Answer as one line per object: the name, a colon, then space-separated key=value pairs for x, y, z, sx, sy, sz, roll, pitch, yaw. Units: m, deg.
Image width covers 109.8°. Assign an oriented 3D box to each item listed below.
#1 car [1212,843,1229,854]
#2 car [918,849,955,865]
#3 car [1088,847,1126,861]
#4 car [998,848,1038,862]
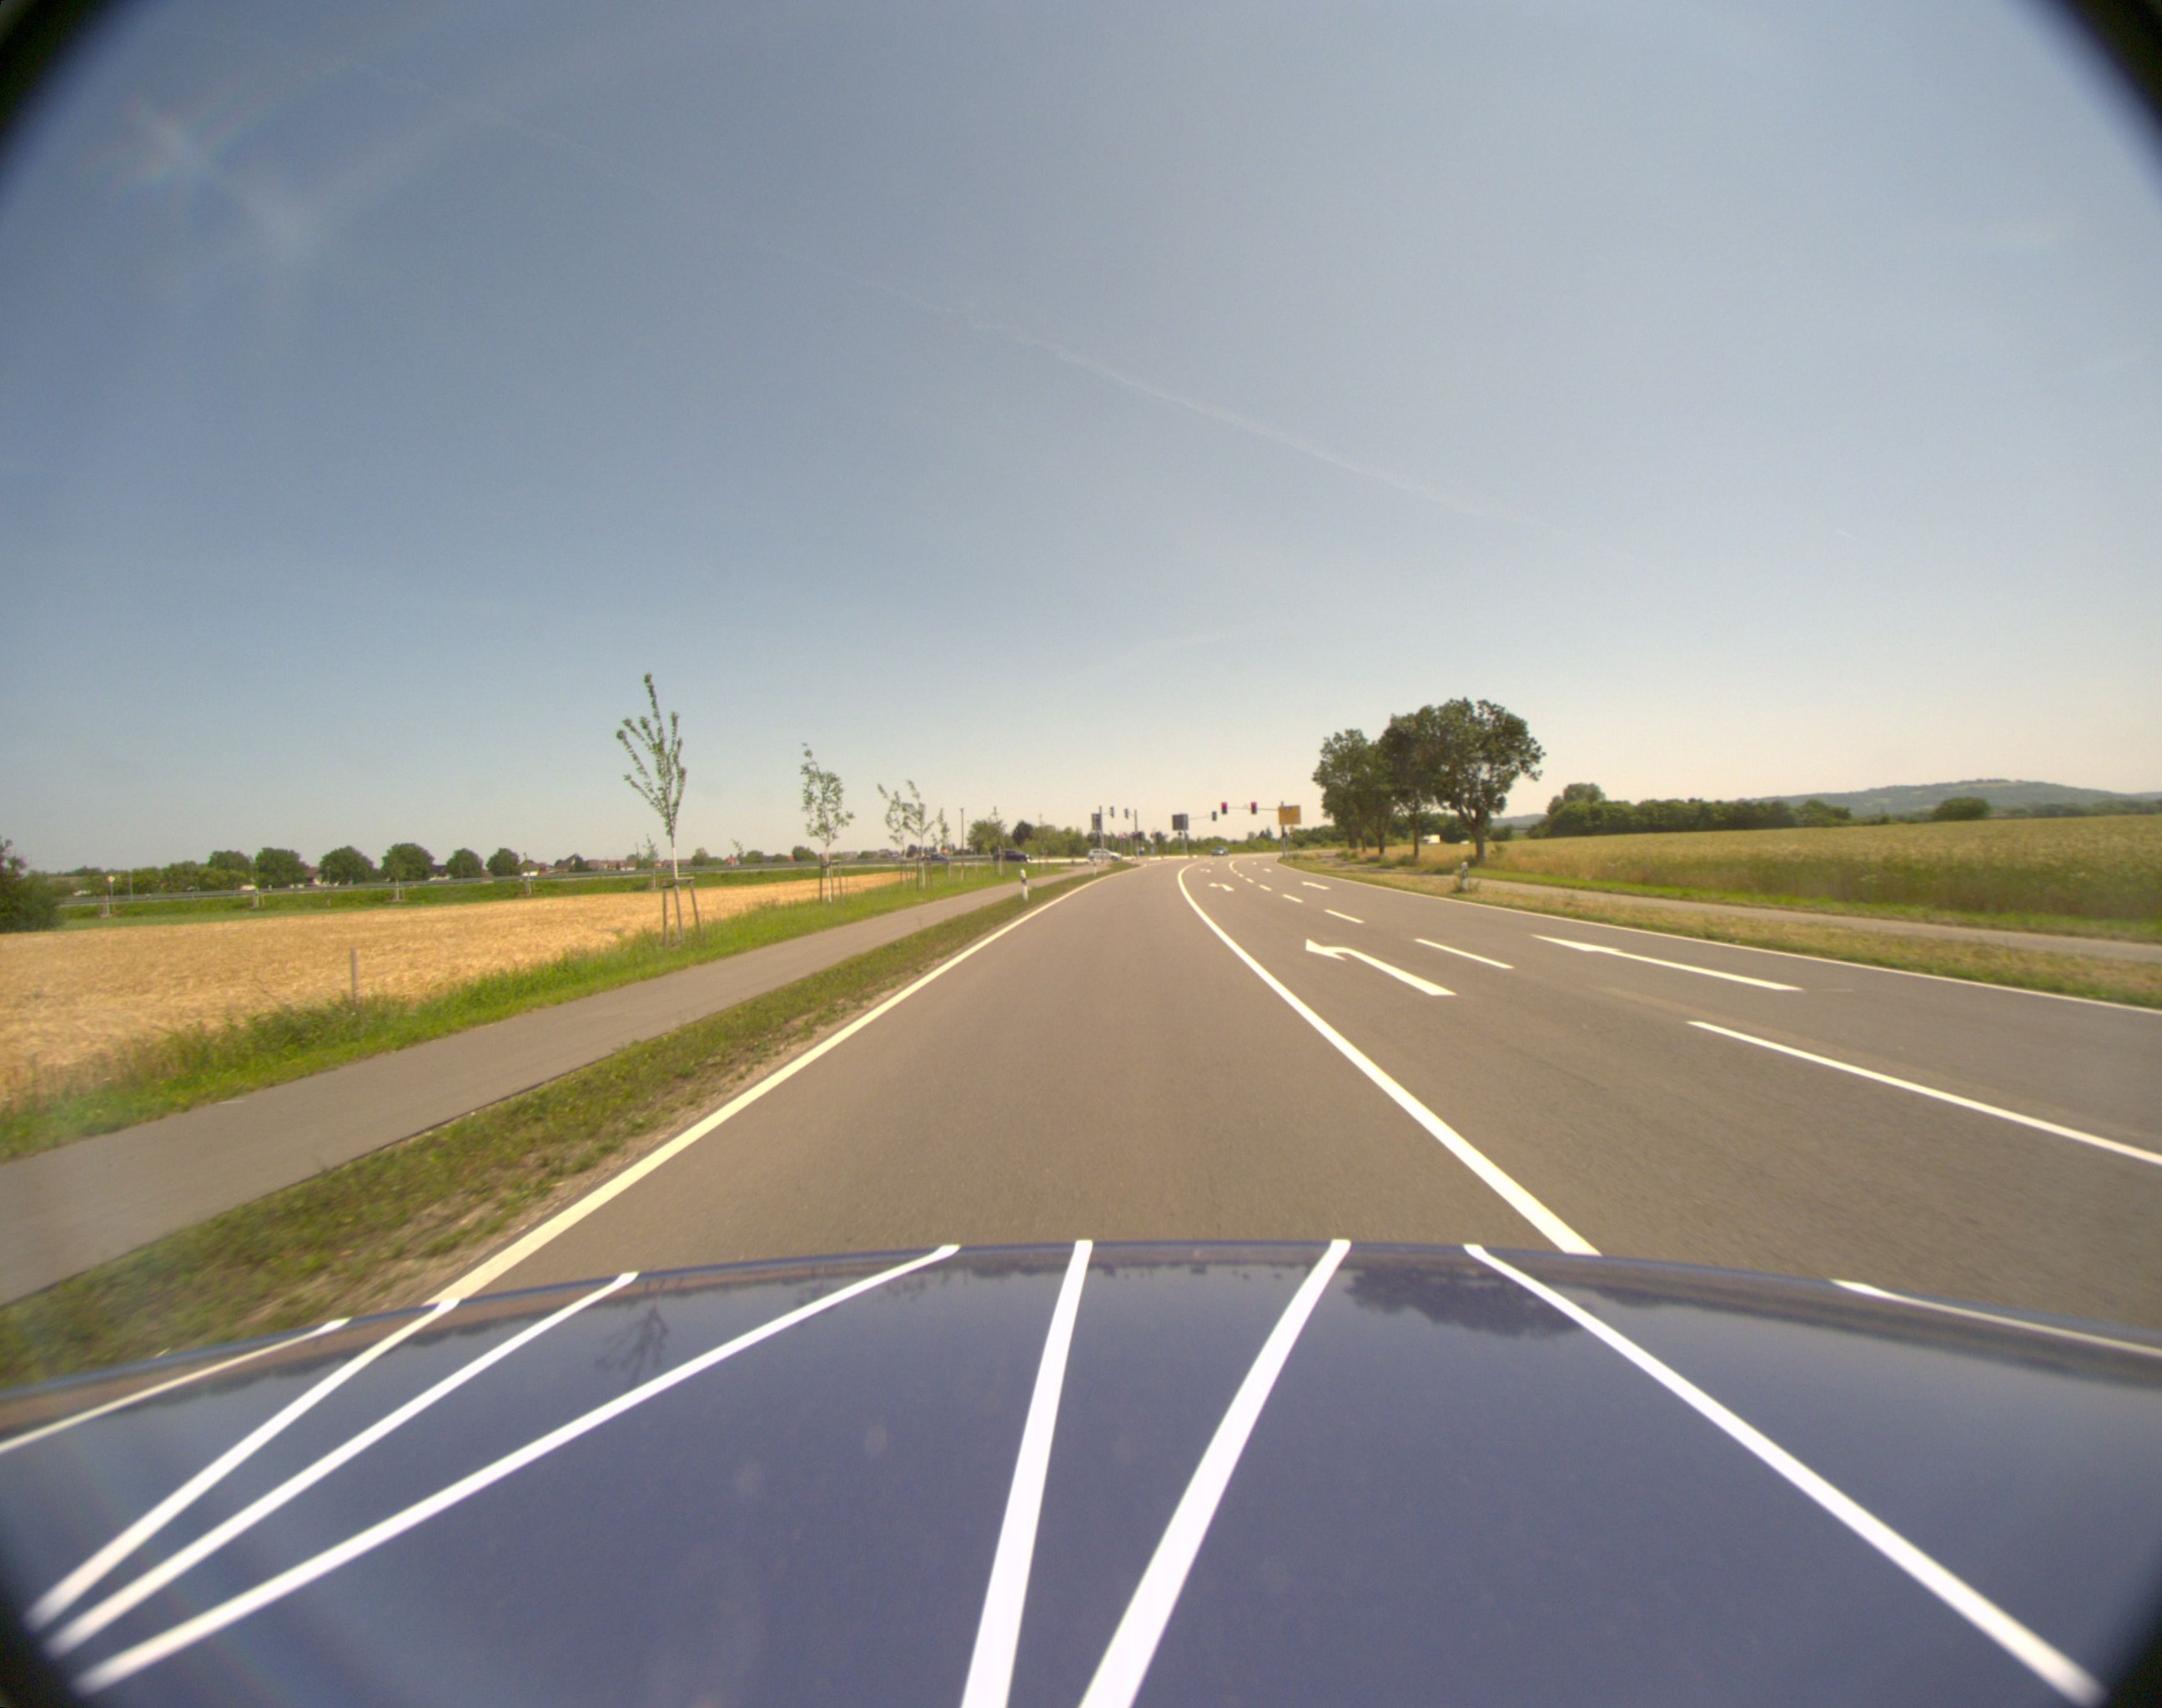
car: x=20.797 y=-0.868 z=113.049 sx=1.654 sy=1.557 sz=4.006 roll=-1 pitch=1 yaw=22
car: x=-17.996 y=0.324 z=94.781 sx=3.914 sy=1.797 sz=1.921 roll=-3 pitch=1 yaw=12
car: x=3.084 y=-0.030 z=89.865 sx=4.145 sy=1.451 sz=1.662 roll=-2 pitch=1 yaw=12
car: x=-7.681 y=0.118 z=92.537 sx=4.518 sy=1.631 sz=1.815 roll=-1 pitch=2 yaw=14
